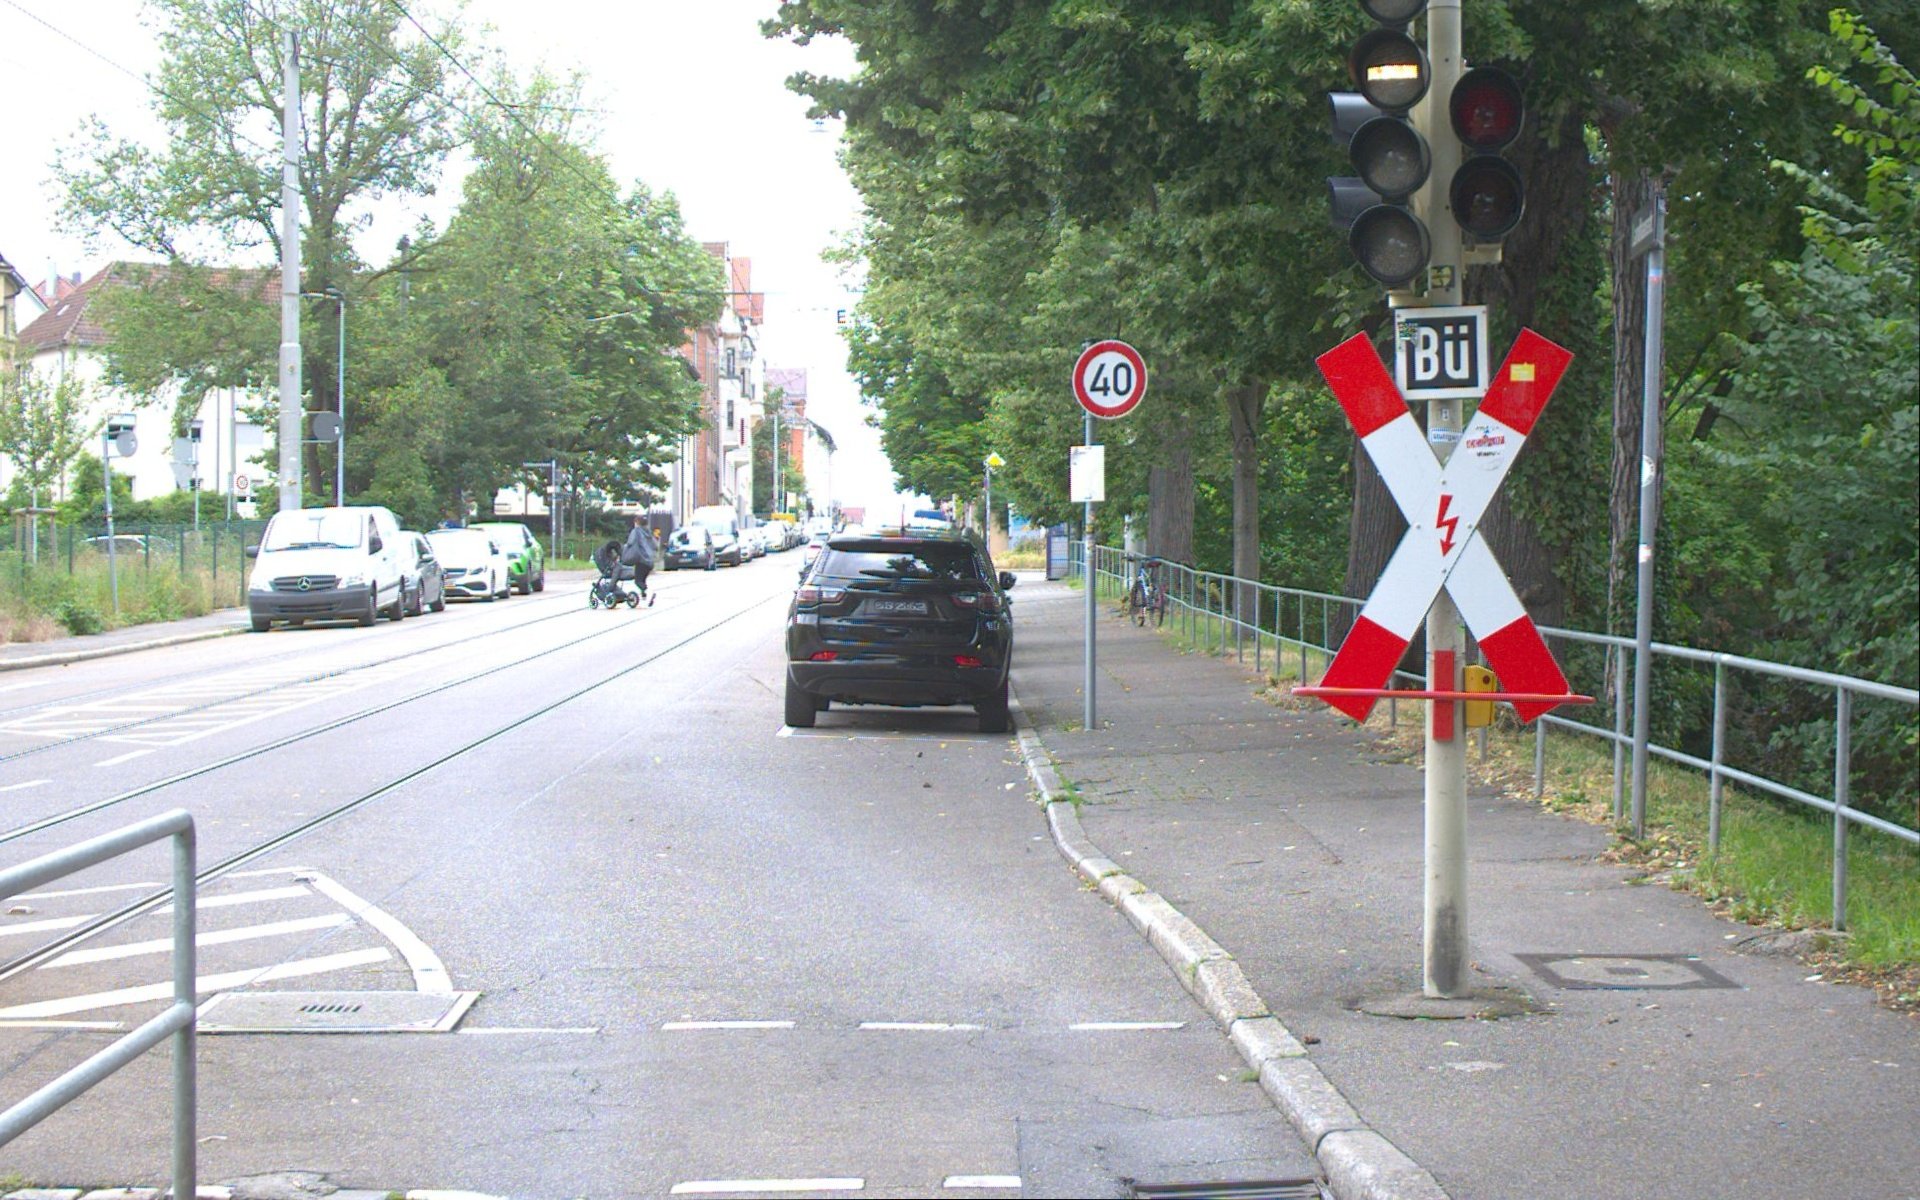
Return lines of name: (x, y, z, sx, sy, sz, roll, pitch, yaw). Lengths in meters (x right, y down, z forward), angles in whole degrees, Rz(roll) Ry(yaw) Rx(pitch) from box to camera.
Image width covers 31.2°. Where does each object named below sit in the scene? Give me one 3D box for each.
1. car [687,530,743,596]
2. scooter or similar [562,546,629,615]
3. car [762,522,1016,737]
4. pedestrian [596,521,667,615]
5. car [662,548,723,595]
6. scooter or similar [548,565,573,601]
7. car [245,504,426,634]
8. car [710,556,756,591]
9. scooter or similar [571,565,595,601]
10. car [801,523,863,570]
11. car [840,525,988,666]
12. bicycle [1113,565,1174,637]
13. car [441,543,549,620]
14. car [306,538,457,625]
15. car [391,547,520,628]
car: (-10.634, -1.580, 149.352, 2.230, 2.755, 5.800, 1, 0, -2)
scooter or similar: (-6.409, -0.339, 60.441, 0.838, 1.192, 0.805, 0, 0, 37)
car: (-0.509, 0.196, 28.628, 1.904, 1.609, 4.600, 1, 1, 1)
pedestrian: (-5.729, -0.554, 59.932, 0.915, 1.623, 0.805, 0, 0, 37)
car: (-10.478, -1.101, 134.861, 1.993, 1.802, 4.000, 1, 0, 1)
scooter or similar: (-15.073, -0.651, 129.741, 0.691, 1.334, 1.639, 1, 0, 1)
car: (-9.847, -0.471, 54.543, 2.035, 1.875, 4.885, -3, 0, -2)
car: (-10.533, -1.227, 159.669, 1.993, 1.595, 4.312, 1, 0, -2)
scooter or similar: (-14.220, -0.639, 129.733, 0.691, 1.334, 1.639, 1, 0, 1)
car: (-4.380, -1.819, 117.734, 1.993, 1.493, 4.312, 1, 0, -1)
car: (-0.629, -0.088, 44.358, 1.726, 1.626, 4.088, 4, 1, -2)
bicycle: (2.544, 0.014, 47.803, 0.427, 0.972, 1.795, 1, 0, -10)
car: (-9.995, -0.408, 74.122, 1.723, 1.574, 4.181, -1, 1, 0)
car: (-10.072, -0.355, 60.170, 1.896, 1.428, 4.511, -1, 1, 0)
car: (-10.026, -0.265, 68.601, 1.885, 1.521, 4.663, -1, 0, 0)
